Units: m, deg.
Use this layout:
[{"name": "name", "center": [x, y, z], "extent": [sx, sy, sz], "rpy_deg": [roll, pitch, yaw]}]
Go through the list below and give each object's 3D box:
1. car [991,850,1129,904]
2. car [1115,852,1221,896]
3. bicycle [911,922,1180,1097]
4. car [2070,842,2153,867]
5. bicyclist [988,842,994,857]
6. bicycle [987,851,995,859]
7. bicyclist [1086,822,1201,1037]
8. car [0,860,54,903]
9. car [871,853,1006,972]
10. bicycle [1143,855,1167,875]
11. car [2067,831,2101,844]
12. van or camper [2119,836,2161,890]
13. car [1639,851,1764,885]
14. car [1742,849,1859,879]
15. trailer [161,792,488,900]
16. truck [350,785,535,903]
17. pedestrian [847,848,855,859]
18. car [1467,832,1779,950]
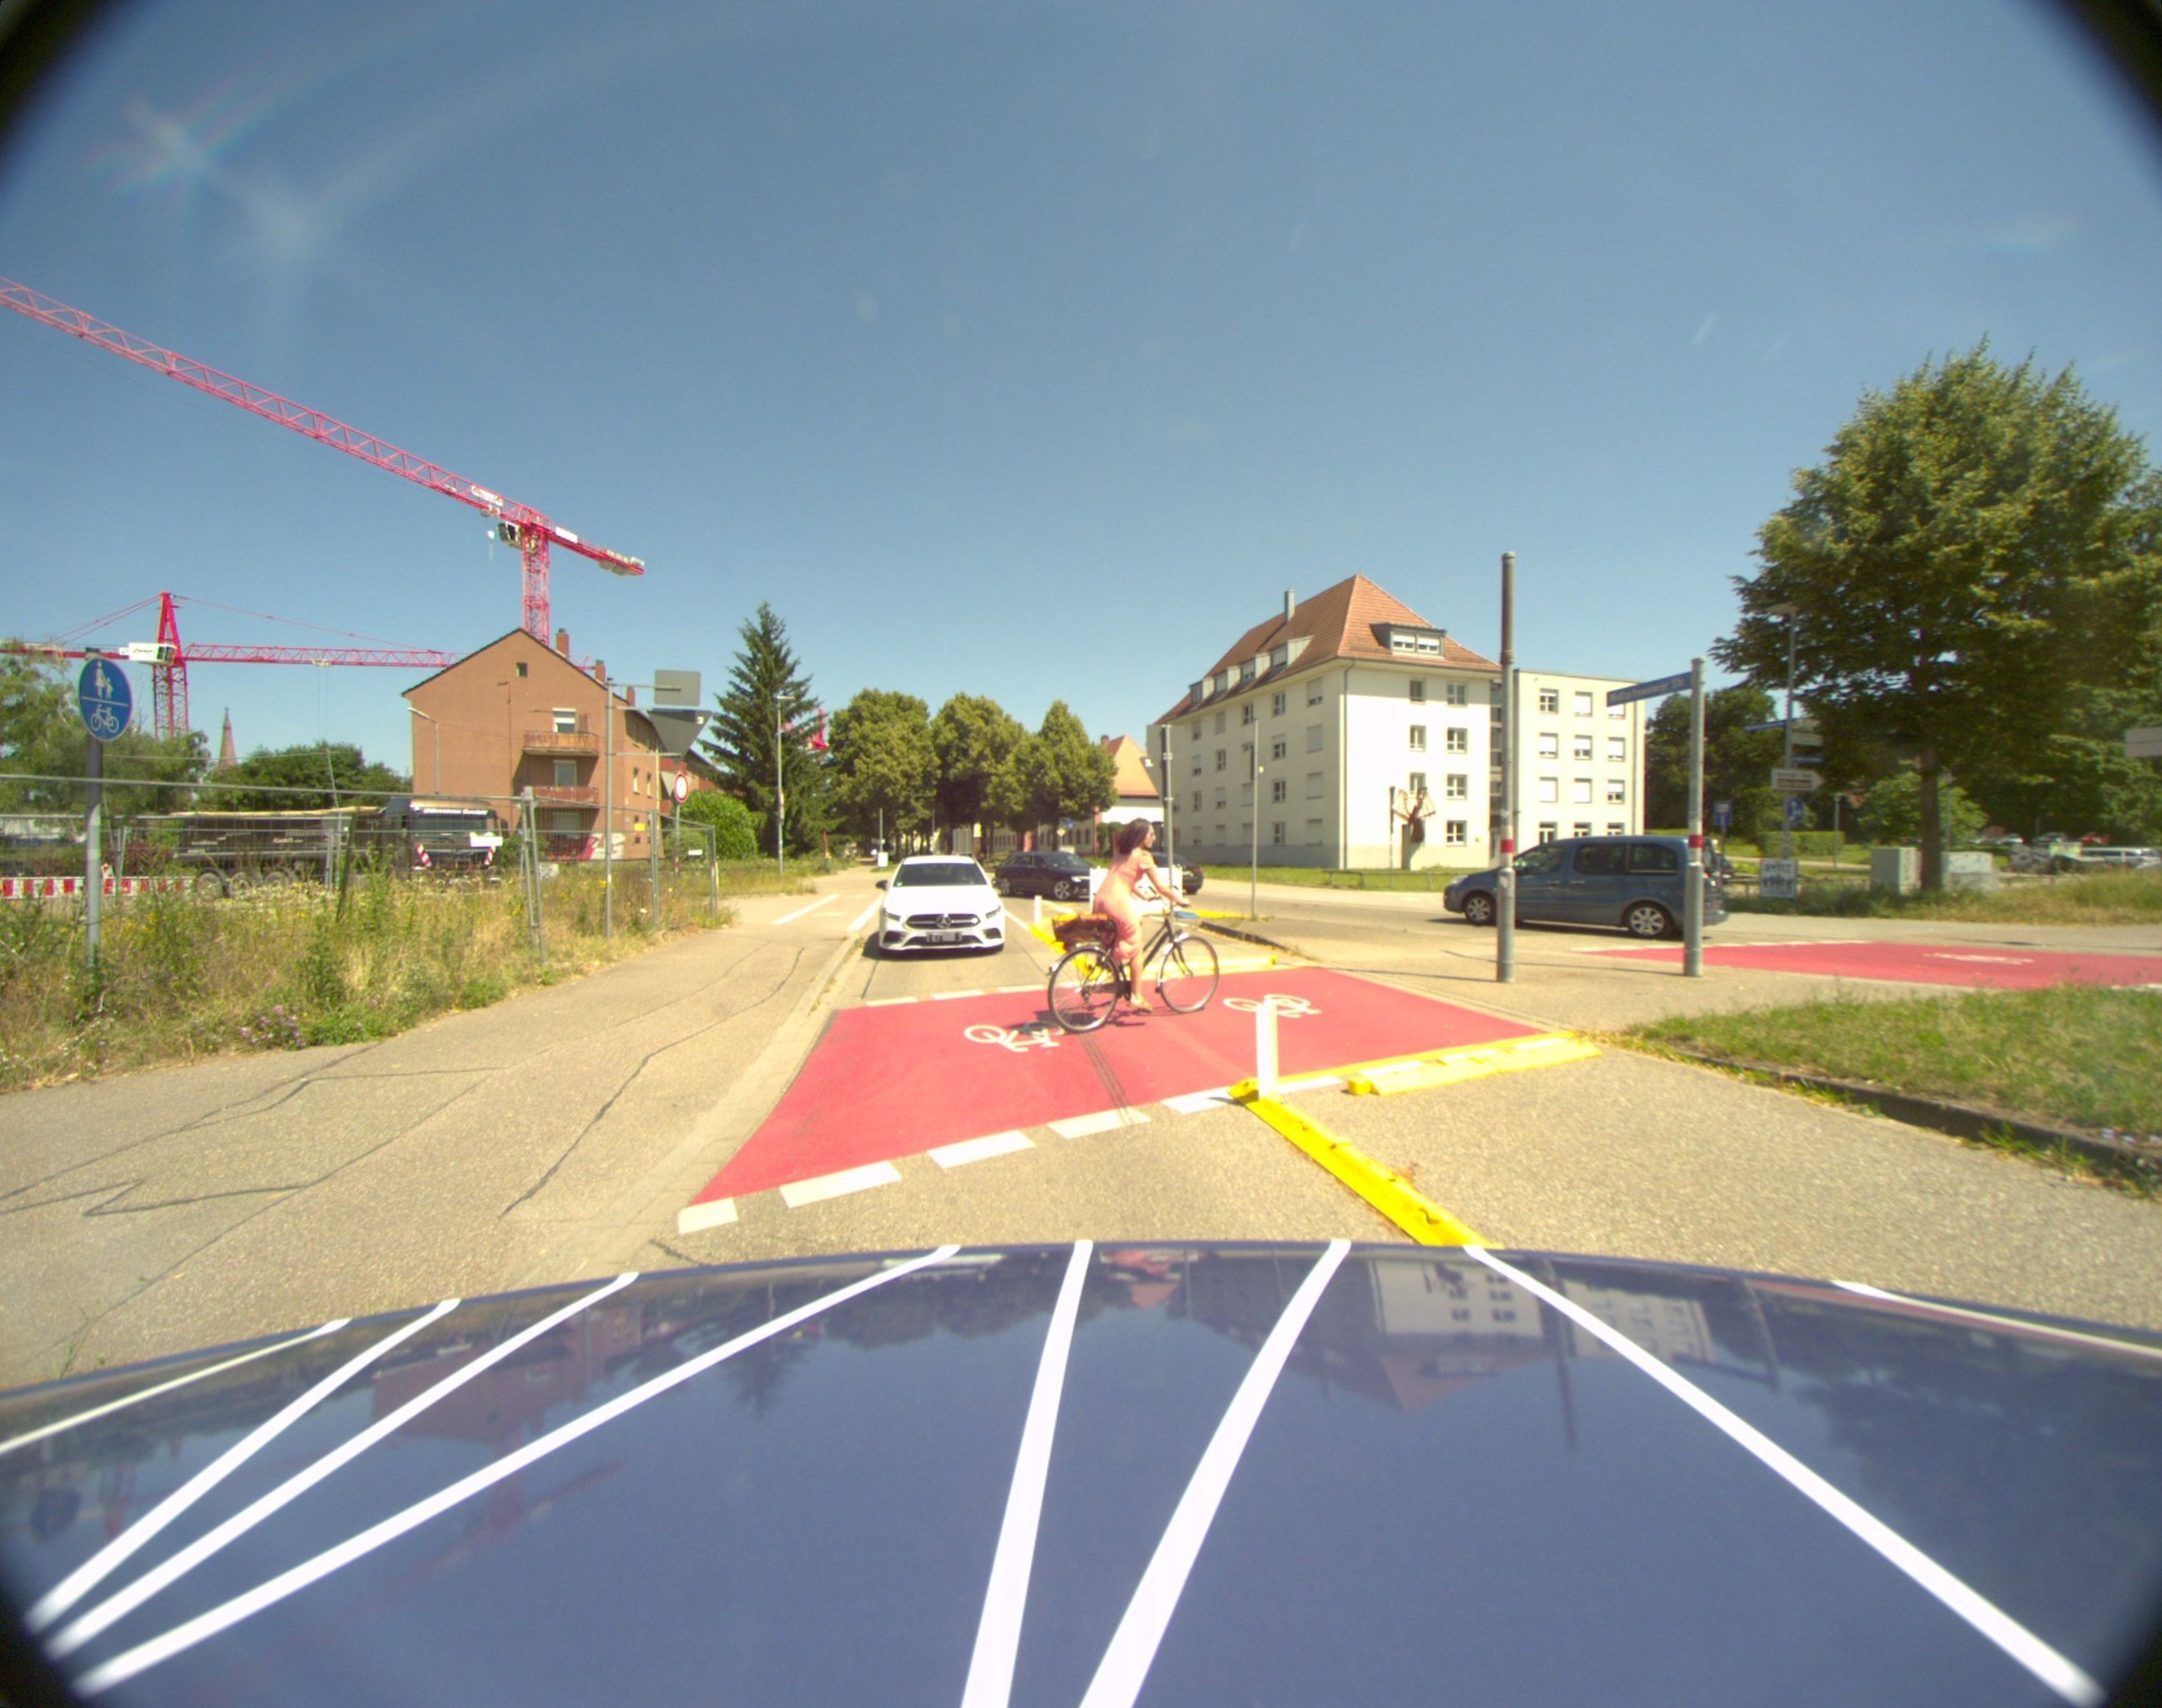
[{"name": "car", "center": [-0.758, 0.645, 23.431], "extent": [1.805, 1.443, 4.605], "rpy_deg": [-2, 1, -38]}, {"name": "car", "center": [2.953, 0.636, 26.877], "extent": [1.725, 1.404, 4.609], "rpy_deg": [-1, 1, -23]}, {"name": "bicycle", "center": [-0.217, 1.118, 5.858], "extent": [2.092, 1.052, 0.438], "rpy_deg": [0, 2, -30]}, {"name": "car", "center": [57.798, 0.022, 42.676], "extent": [1.084, 1.350, 2.526], "rpy_deg": [-1, 1, -11]}, {"name": "bicyclist", "center": [-9.851, -0.468, 83.166], "extent": [0.569, 1.601, 0.739], "rpy_deg": [-1, 1, -17]}, {"name": "bicycle", "center": [-9.861, 0.107, 83.189], "extent": [0.563, 0.910, 1.905], "rpy_deg": [-1, 1, -17]}, {"name": "bicyclist", "center": [0.506, 0.573, 6.271], "extent": [0.711, 1.655, 0.644], "rpy_deg": [-1, 2, -28]}, {"name": "car", "center": [-43.192, 1.083, 29.996], "extent": [3.416, 1.604, 1.370], "rpy_deg": [0, 1, 1]}, {"name": "car", "center": [-2.212, 0.784, 12.270], "extent": [1.781, 1.536, 3.959], "rpy_deg": [-1, 1, -8]}, {"name": "bicycle", "center": [4.134, 0.588, 42.560], "extent": [0.710, 1.018, 1.983], "rpy_deg": [-3, 2, -12]}, {"name": "car", "center": [108.569, -1.770, 82.236], "extent": [3.031, 1.408, 1.476], "rpy_deg": [-1, 1, -22]}, {"name": "van or camper", "center": [38.431, 0.299, 24.642], "extent": [2.002, 1.847, 5.264], "rpy_deg": [-1, 1, -18]}, {"name": "car", "center": [26.025, 0.537, 32.015], "extent": [1.661, 1.319, 3.801], "rpy_deg": [-1, 1, -17]}, {"name": "car", "center": [31.540, 0.411, 33.428], "extent": [1.358, 1.210, 3.508], "rpy_deg": [-1, 1, -17]}, {"name": "trailer", "center": [-26.450, -0.259, 26.800], "extent": [8.981, 3.512, 3.166], "rpy_deg": [0, 1, 6]}, {"name": "truck", "center": [-21.279, -0.316, 25.347], "extent": [4.951, 3.512, 3.171], "rpy_deg": [0, 1, 30]}, {"name": "pedestrian", "center": [-32.355, -0.104, 106.976], "extent": [1.025, 1.509, 0.681], "rpy_deg": [-1, 1, -12]}, {"name": "car", "center": [9.405, 0.562, 13.515], "extent": [1.693, 1.759, 4.193], "rpy_deg": [0, 0, -38]}]
